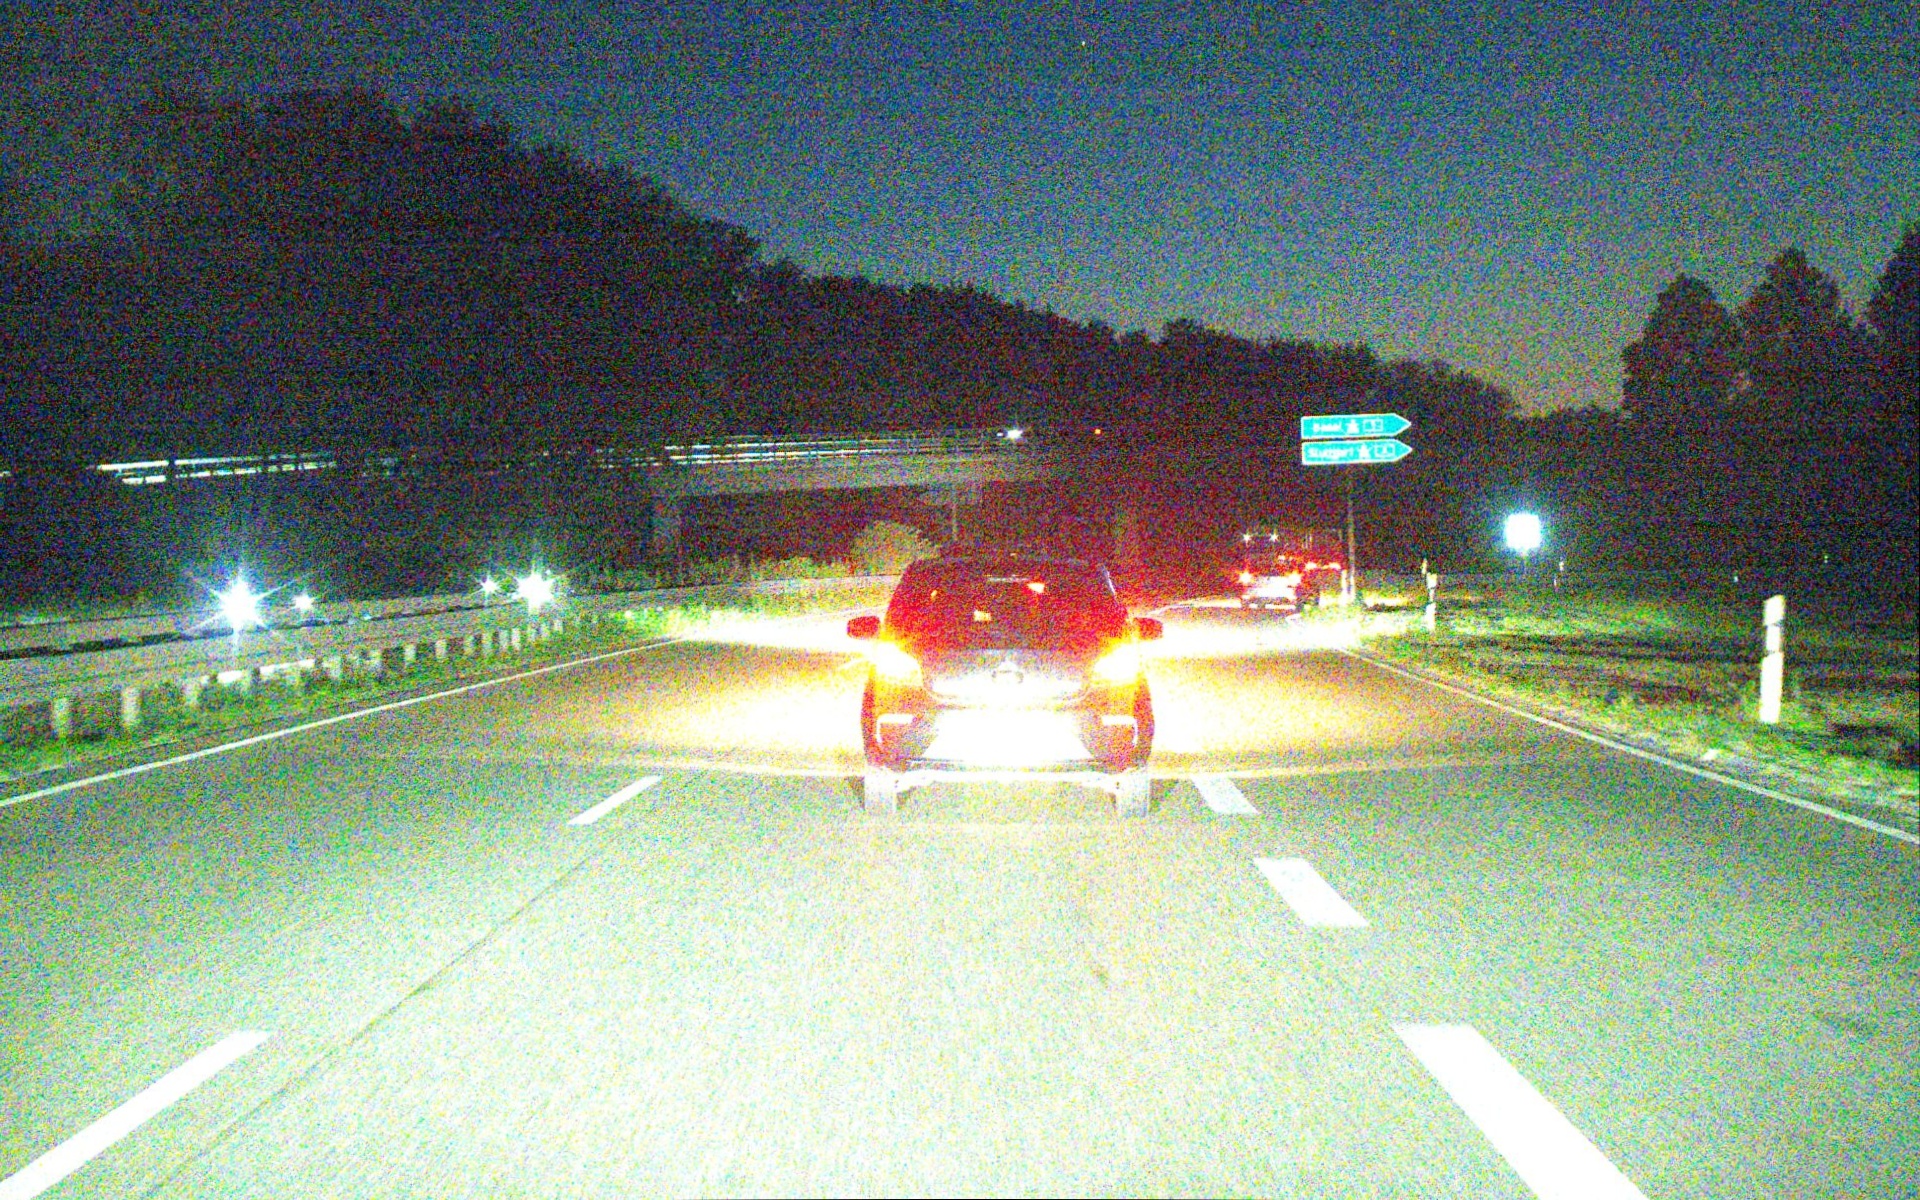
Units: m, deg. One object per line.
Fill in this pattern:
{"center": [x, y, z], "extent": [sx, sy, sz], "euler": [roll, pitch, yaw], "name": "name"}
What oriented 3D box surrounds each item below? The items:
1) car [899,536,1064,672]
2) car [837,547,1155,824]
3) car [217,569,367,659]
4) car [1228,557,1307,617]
{"center": [0.241, 0.009, 43.028], "extent": [1.940, 1.603, 4.644], "euler": [0, 1, 0], "name": "car"}
{"center": [0.194, 0.430, 20.371], "extent": [1.691, 1.473, 4.000], "euler": [0, 1, 0], "name": "car"}
{"center": [-13.143, 0.252, 67.858], "extent": [1.994, 1.678, 4.000], "euler": [0, 1, 3], "name": "car"}
{"center": [8.447, -0.362, 94.710], "extent": [1.733, 1.612, 3.799], "euler": [0, 1, -2], "name": "car"}
